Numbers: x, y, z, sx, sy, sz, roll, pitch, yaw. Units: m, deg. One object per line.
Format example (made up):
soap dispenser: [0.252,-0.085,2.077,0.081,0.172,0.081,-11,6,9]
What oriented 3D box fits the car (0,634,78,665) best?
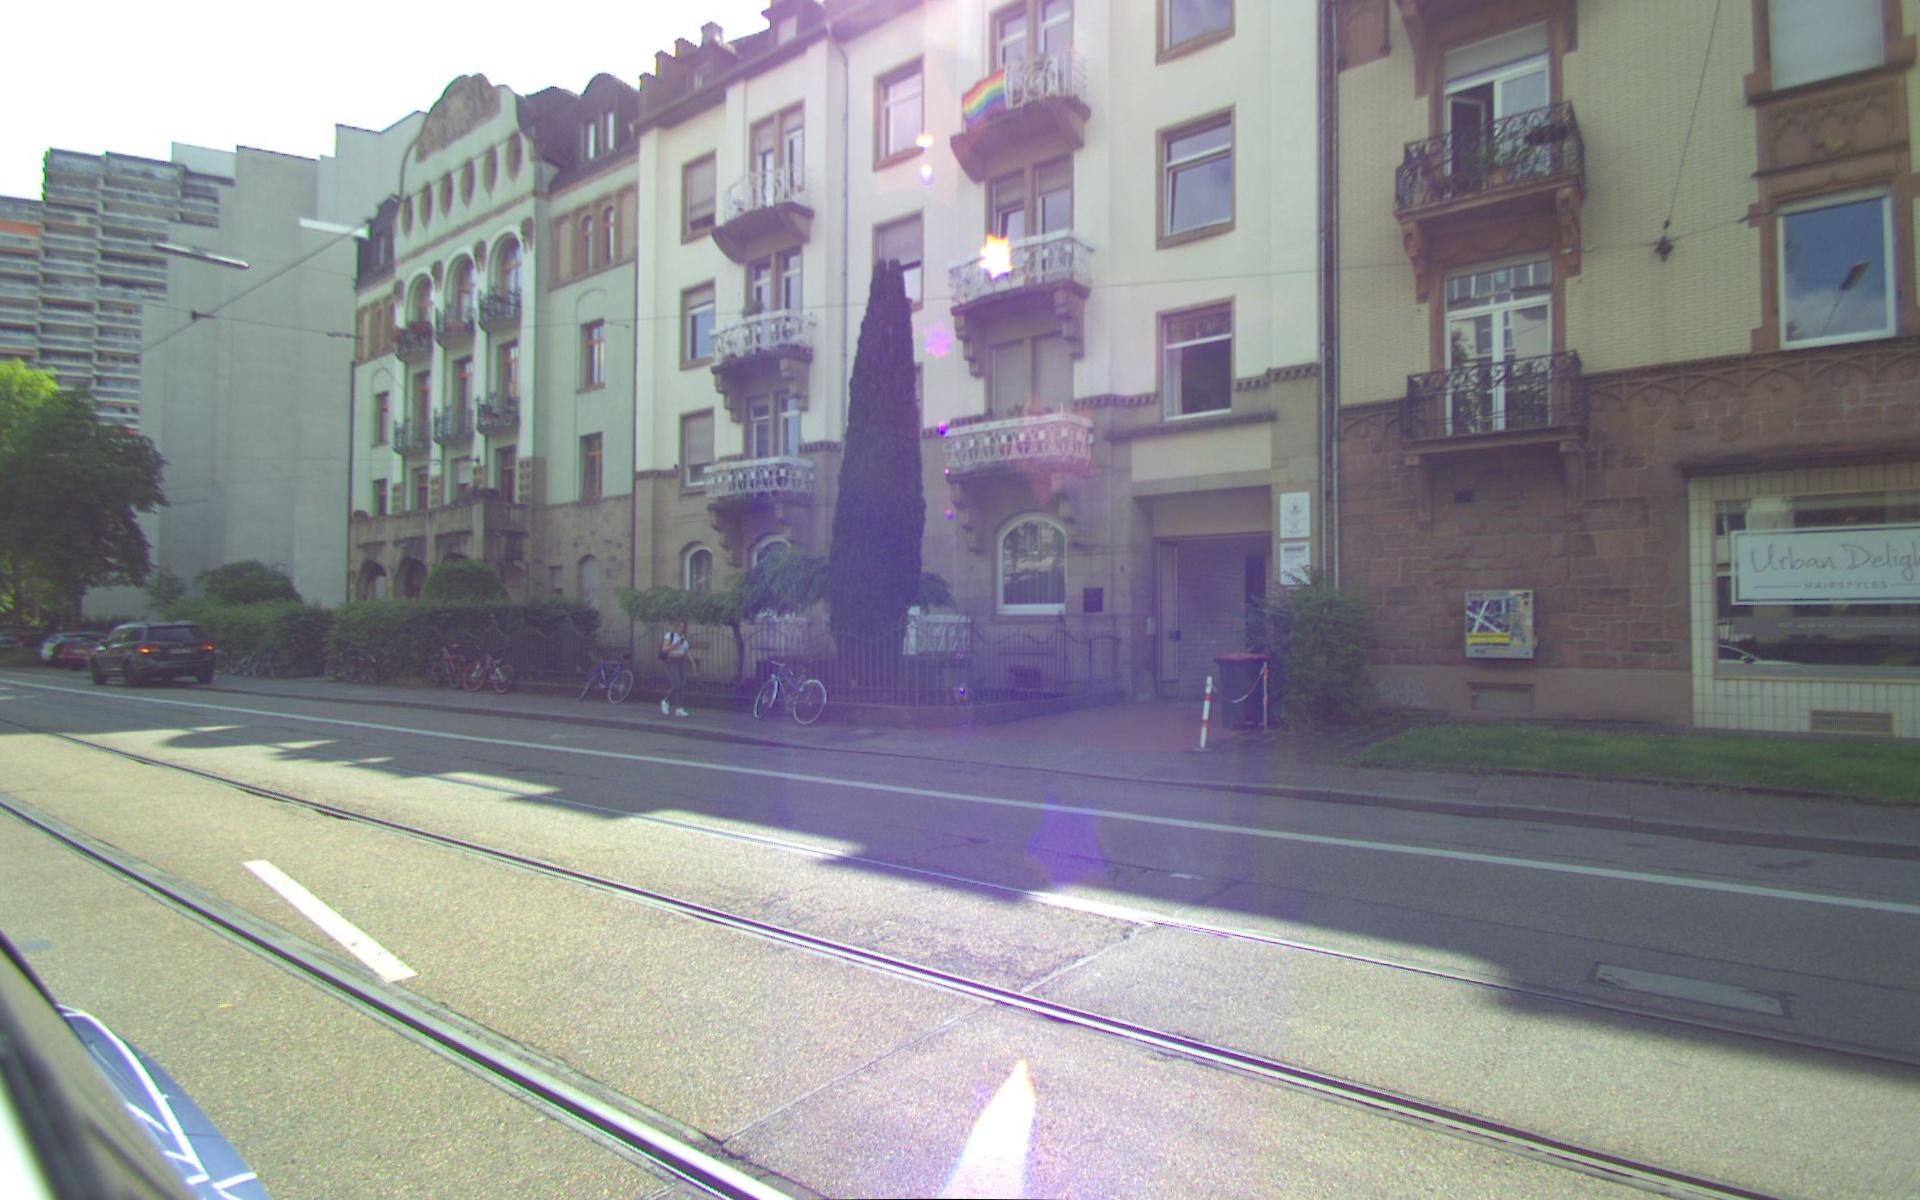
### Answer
car: [-45.966,2.417,49.707,3.938,1.519,2.002,2,-3,-42]

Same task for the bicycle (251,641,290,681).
bicycle: [-20.541,1.811,30.131,1.785,1.144,0.462,-2,-3,40]

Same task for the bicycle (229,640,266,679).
bicycle: [-22.065,1.830,31.335,1.785,1.144,0.462,-2,-3,40]

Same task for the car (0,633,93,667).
car: [-43.513,2.338,47.726,3.938,1.519,2.002,2,-3,-42]

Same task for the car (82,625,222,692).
car: [-22.281,1.553,27.857,4.393,1.708,1.899,-1,-2,36]

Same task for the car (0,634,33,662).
car: [-53.521,2.616,55.452,3.938,1.519,2.002,2,-3,-42]

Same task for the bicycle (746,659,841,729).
bicycle: [-2.649,1.449,15.971,0.461,1.003,1.980,2,-3,-43]

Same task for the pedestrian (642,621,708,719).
pedestrian: [-4.708,1.137,16.729,0.764,1.553,0.749,-2,-3,39]

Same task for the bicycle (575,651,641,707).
bicycle: [-6.717,1.485,19.279,0.461,1.003,1.788,2,-3,-45]

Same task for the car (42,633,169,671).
car: [-35.602,2.141,42.237,3.938,1.519,2.002,2,-3,-42]

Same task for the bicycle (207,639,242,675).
bicycle: [-23.718,1.828,32.627,1.785,1.144,0.462,-2,-3,40]

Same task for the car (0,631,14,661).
car: [-56.419,2.596,57.404,3.938,1.695,2.002,2,-3,-42]

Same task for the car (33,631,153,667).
car: [-38.205,2.138,44.654,3.938,1.519,2.002,2,-3,-42]

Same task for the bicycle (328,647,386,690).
bicycle: [-15.184,1.703,25.462,1.979,1.003,0.597,-2,-3,40]

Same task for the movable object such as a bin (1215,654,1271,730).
movable object such as a bin: [3.979,1.290,14.267,0.697,1.037,0.475,0,-2,11]

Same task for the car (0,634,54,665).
car: [-48.645,2.508,51.361,3.938,1.519,2.002,2,-3,-42]

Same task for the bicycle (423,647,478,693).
bicycle: [-11.713,1.598,23.246,1.785,1.003,0.462,-2,-3,40]

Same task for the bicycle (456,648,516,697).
bicycle: [-10.299,1.562,21.980,1.785,1.003,0.462,-2,-3,40]

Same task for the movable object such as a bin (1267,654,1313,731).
movable object such as a bin: [4.619,1.284,14.187,0.531,1.037,0.475,0,-2,11]

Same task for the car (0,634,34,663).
car: [-51.335,2.539,53.146,3.938,1.519,2.002,2,-3,-42]

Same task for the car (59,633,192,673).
car: [-32.922,2.057,39.979,3.938,1.519,2.002,2,-3,-42]
